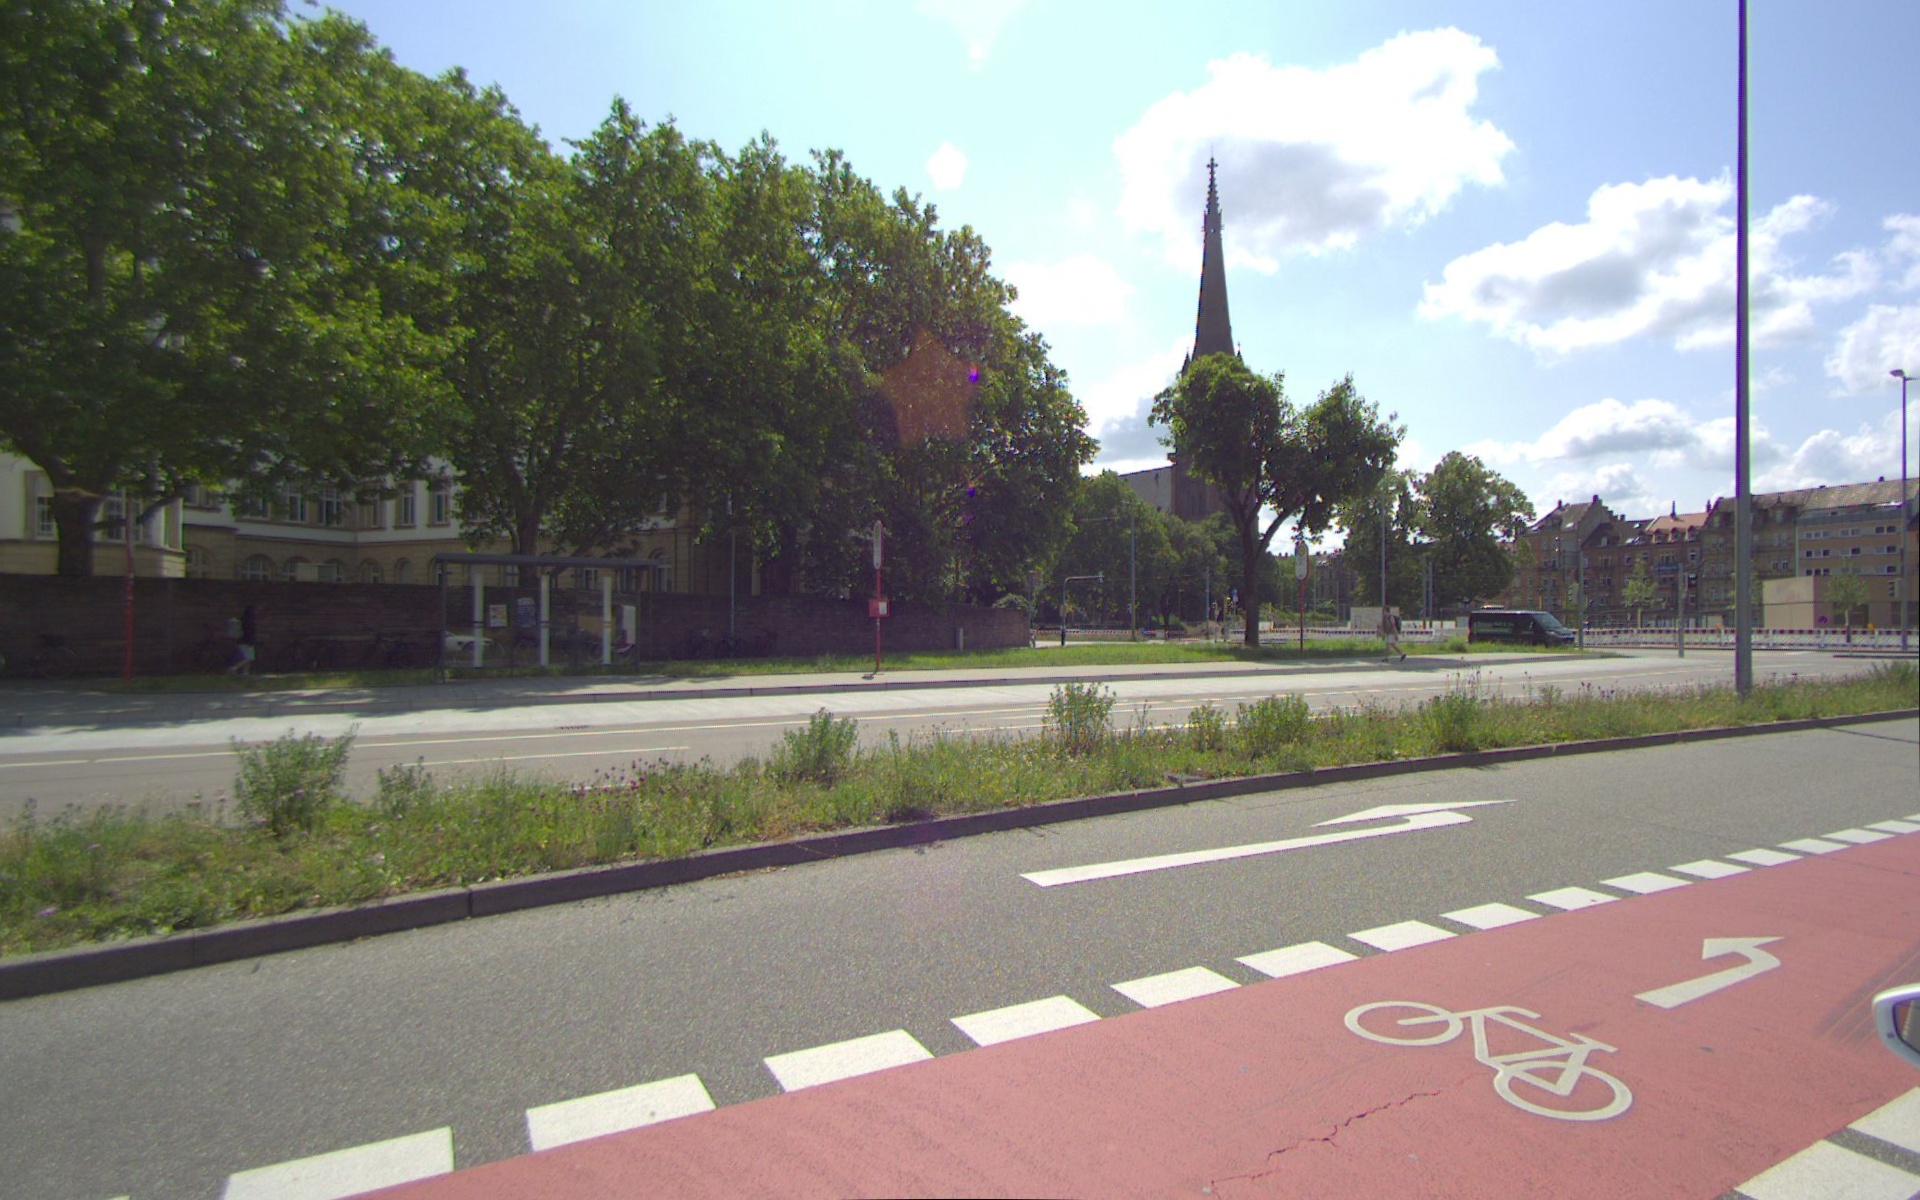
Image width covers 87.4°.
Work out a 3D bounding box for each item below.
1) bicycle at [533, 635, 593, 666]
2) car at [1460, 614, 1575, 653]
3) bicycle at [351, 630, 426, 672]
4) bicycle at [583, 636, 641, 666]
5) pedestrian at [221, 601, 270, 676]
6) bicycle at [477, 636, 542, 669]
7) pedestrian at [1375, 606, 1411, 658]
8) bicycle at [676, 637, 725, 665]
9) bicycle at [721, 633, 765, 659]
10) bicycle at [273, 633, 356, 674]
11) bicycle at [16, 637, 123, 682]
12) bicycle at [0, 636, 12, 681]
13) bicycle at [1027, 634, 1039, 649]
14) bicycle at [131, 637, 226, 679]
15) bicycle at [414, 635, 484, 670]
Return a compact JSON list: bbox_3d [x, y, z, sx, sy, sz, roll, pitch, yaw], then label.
[{"bbox_3d":[-12.075,1.526,30.567,0.537,0.914,1.658,0,-1,39],"label":"bicycle"},{"bbox_3d":[29.126,1.705,52.666,1.908,1.904,4.980,0,-1,-33],"label":"car"},{"bbox_3d":[-14.985,1.317,26.367,0.538,1.065,1.615,0,-1,43],"label":"bicycle"},{"bbox_3d":[-11.097,1.622,32.058,0.446,0.914,1.786,0,-1,39],"label":"bicycle"},{"bbox_3d":[-15.973,0.841,22.463,0.607,1.638,0.754,1,0,39],"label":"pedestrian"},{"bbox_3d":[-13.091,1.510,29.214,0.537,0.914,1.658,0,-1,39],"label":"bicycle"},{"bbox_3d":[13.287,0.981,30.853,0.858,1.580,0.555,0,-1,0],"label":"pedestrian"},{"bbox_3d":[-9.004,1.765,34.928,0.537,0.914,1.658,0,-1,39],"label":"bicycle"},{"bbox_3d":[-7.934,1.679,36.719,0.536,0.914,1.660,0,-1,34],"label":"bicycle"},{"bbox_3d":[-16.133,1.320,25.132,0.538,0.964,1.656,0,-1,43],"label":"bicycle"},{"bbox_3d":[-18.997,1.255,21.462,1.648,0.914,0.498,1,-1,-34],"label":"bicycle"},{"bbox_3d":[-20.329,1.206,20.311,0.538,0.914,1.655,0,-1,45],"label":"bicycle"},{"bbox_3d":[4.522,2.541,61.938,0.534,0.914,1.666,0,-1,12],"label":"bicycle"},{"bbox_3d":[-17.898,1.316,23.025,0.538,0.914,1.655,0,-1,44],"label":"bicycle"},{"bbox_3d":[-14.143,1.450,27.854,0.537,0.914,1.658,0,-1,39],"label":"bicycle"}]
